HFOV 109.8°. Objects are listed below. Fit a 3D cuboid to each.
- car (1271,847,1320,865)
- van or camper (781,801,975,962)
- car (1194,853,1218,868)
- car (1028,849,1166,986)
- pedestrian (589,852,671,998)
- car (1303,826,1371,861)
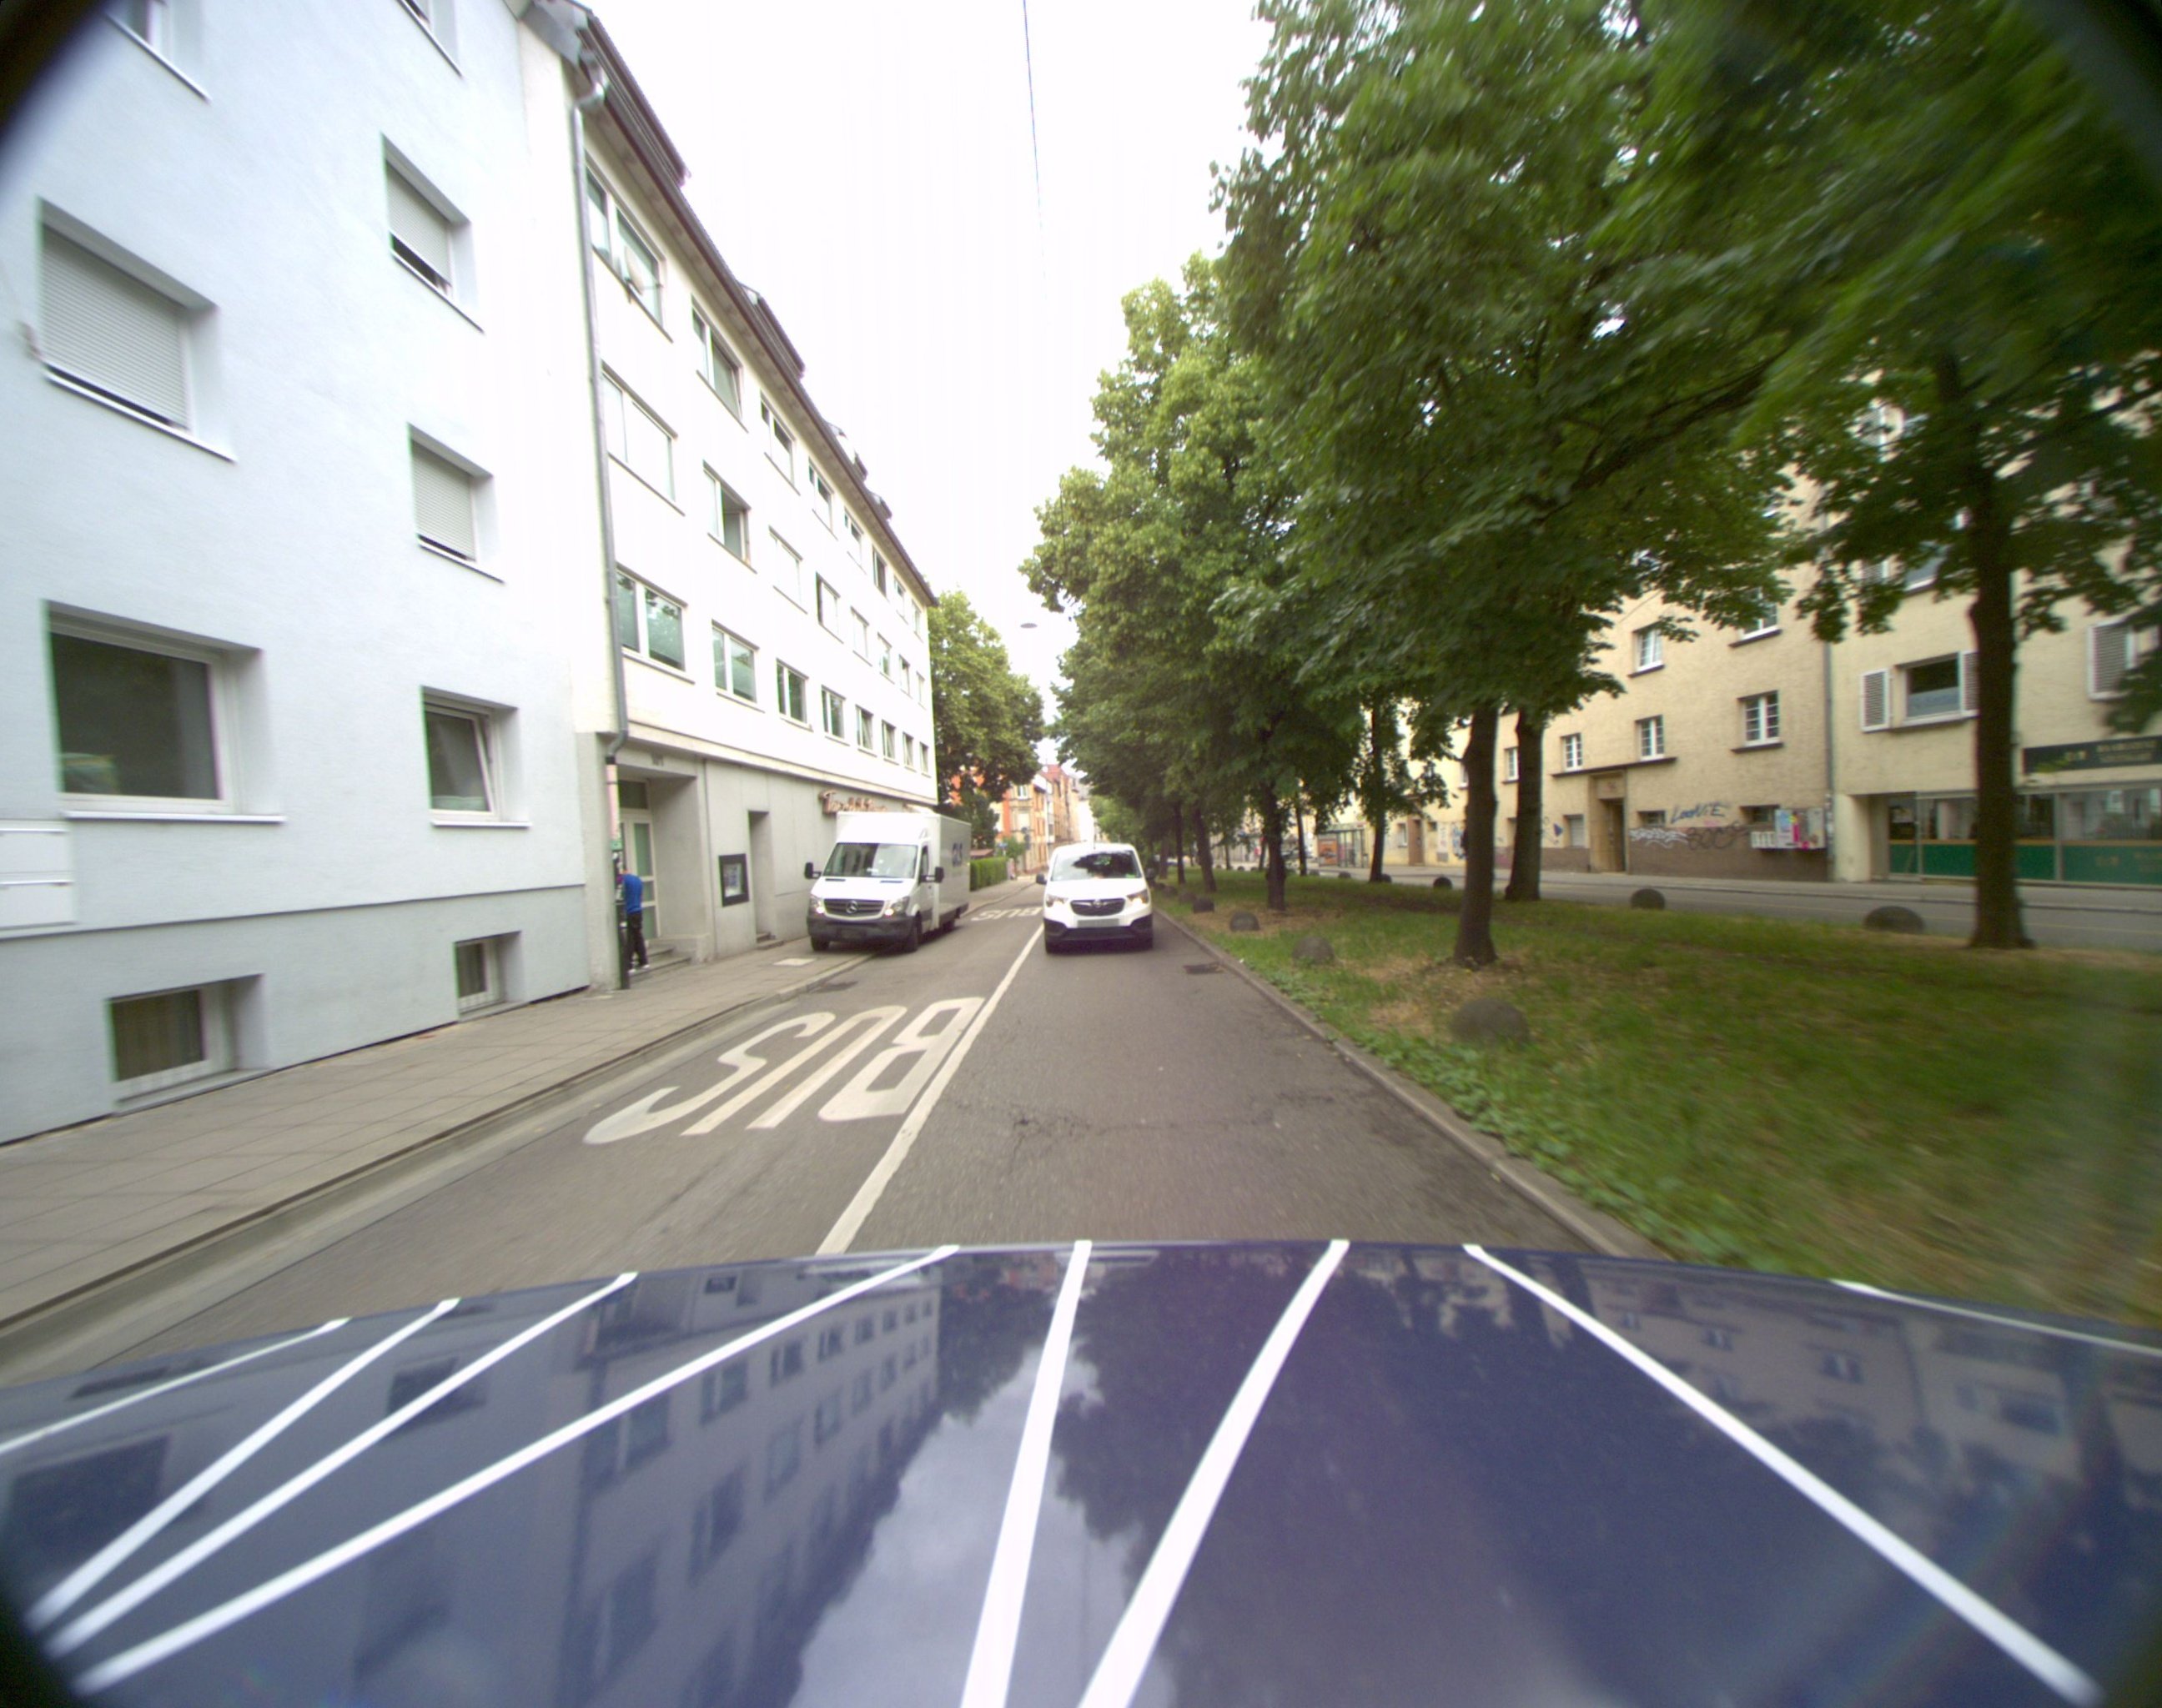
[{"bbox_3d":[21.780,0.188,77.296,4.298,1.411,2.048,-6,-1,3],"label":"car"},{"bbox_3d":[-4.093,0.490,17.057,2.486,2.786,7.237,-1,0,-1],"label":"van or camper"},{"bbox_3d":[14.171,0.769,86.138,1.953,1.619,4.365,-2,0,0],"label":"car"},{"bbox_3d":[0.458,0.886,12.752,1.745,1.830,4.345,-3,0,8],"label":"car"},{"bbox_3d":[-6.453,0.989,10.903,0.635,2.002,0.686,-3,1,2],"label":"pedestrian"},{"bbox_3d":[23.046,-0.942,68.438,5.189,2.720,2.175,-4,0,-10],"label":"car"}]
